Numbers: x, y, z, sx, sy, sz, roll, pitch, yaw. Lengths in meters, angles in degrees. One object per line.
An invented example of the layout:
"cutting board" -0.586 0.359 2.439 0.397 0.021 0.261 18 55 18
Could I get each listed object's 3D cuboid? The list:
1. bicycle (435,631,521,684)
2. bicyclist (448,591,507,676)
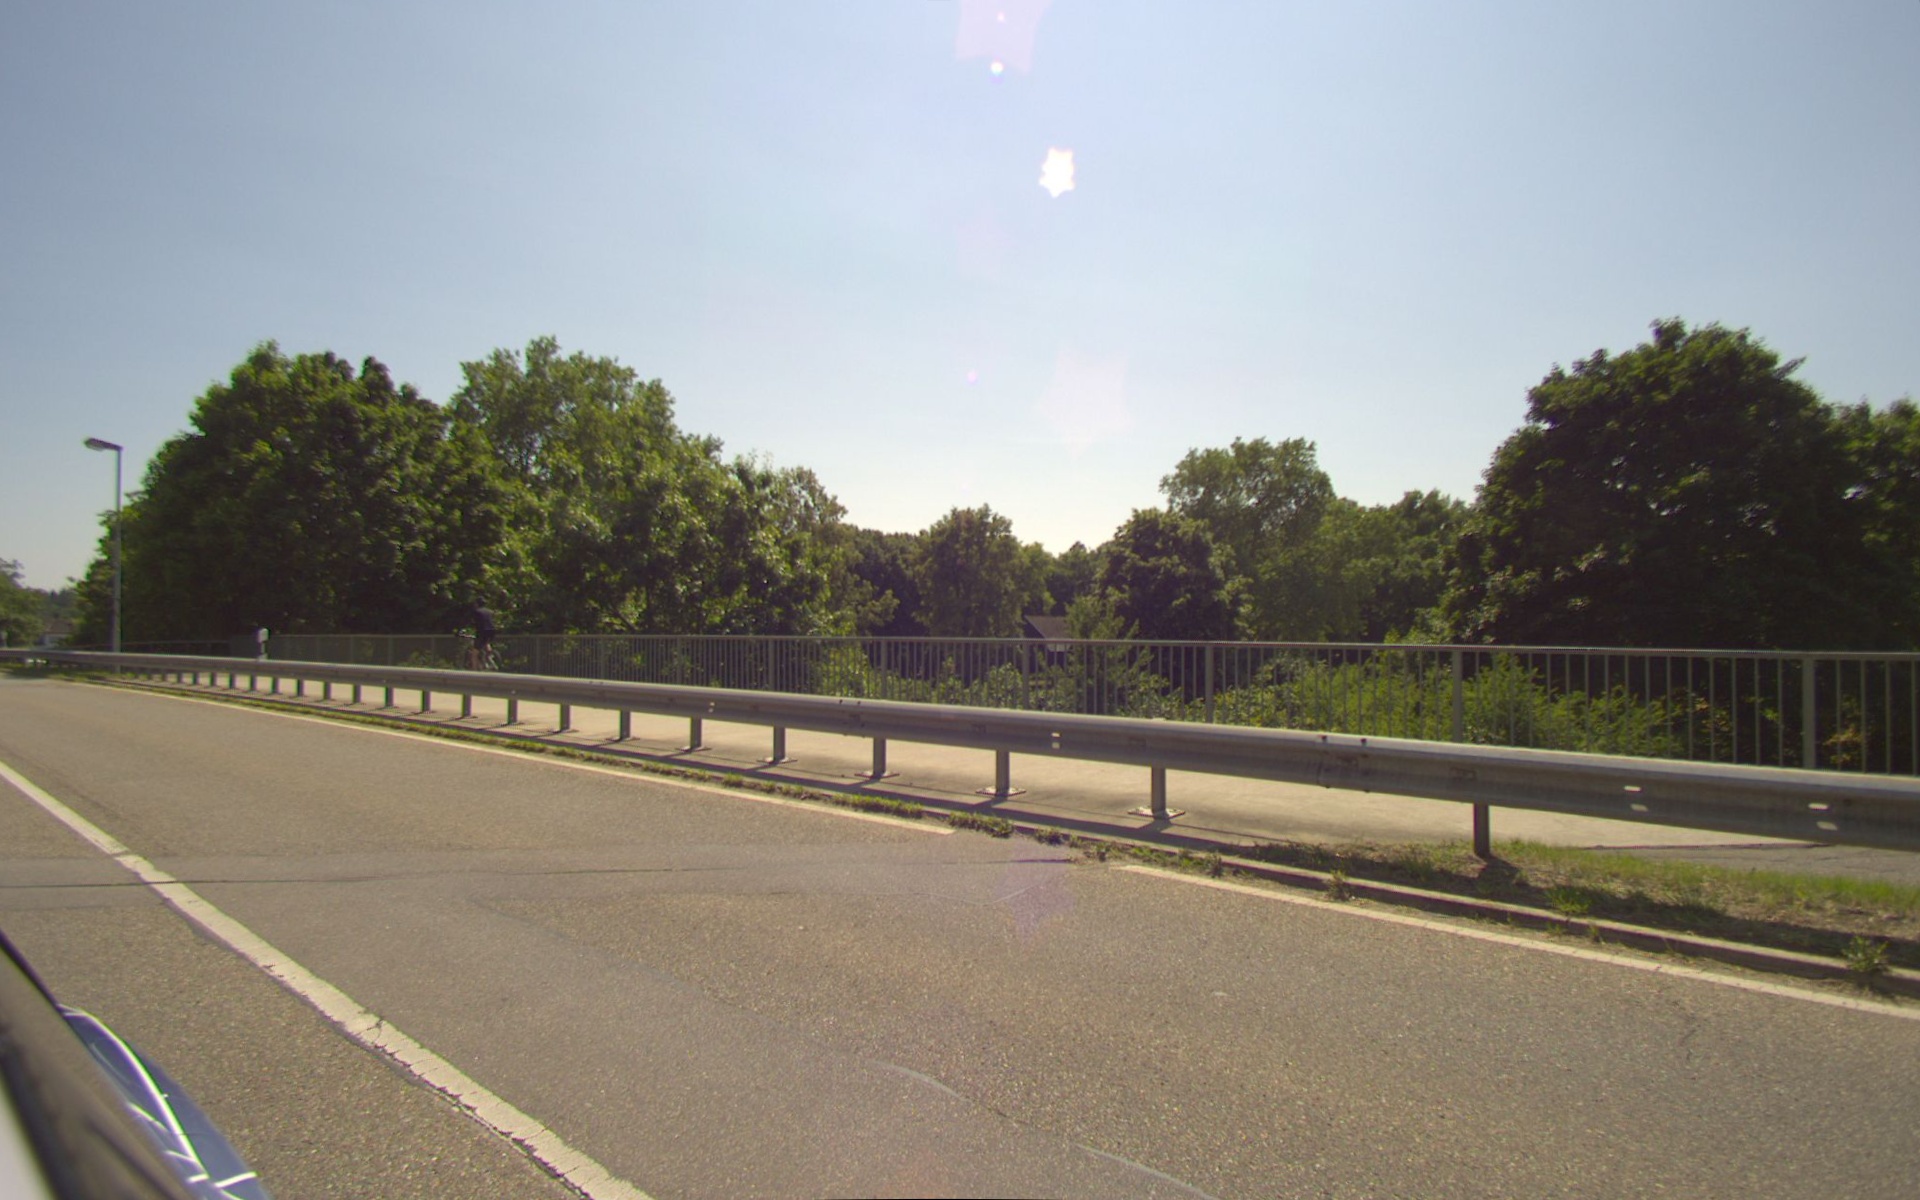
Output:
"bicycle" -9.652 1.130 20.232 2.116 1.009 0.671 -2 -3 38
"bicyclist" -9.619 0.665 20.185 0.894 1.646 0.758 -2 -2 38
